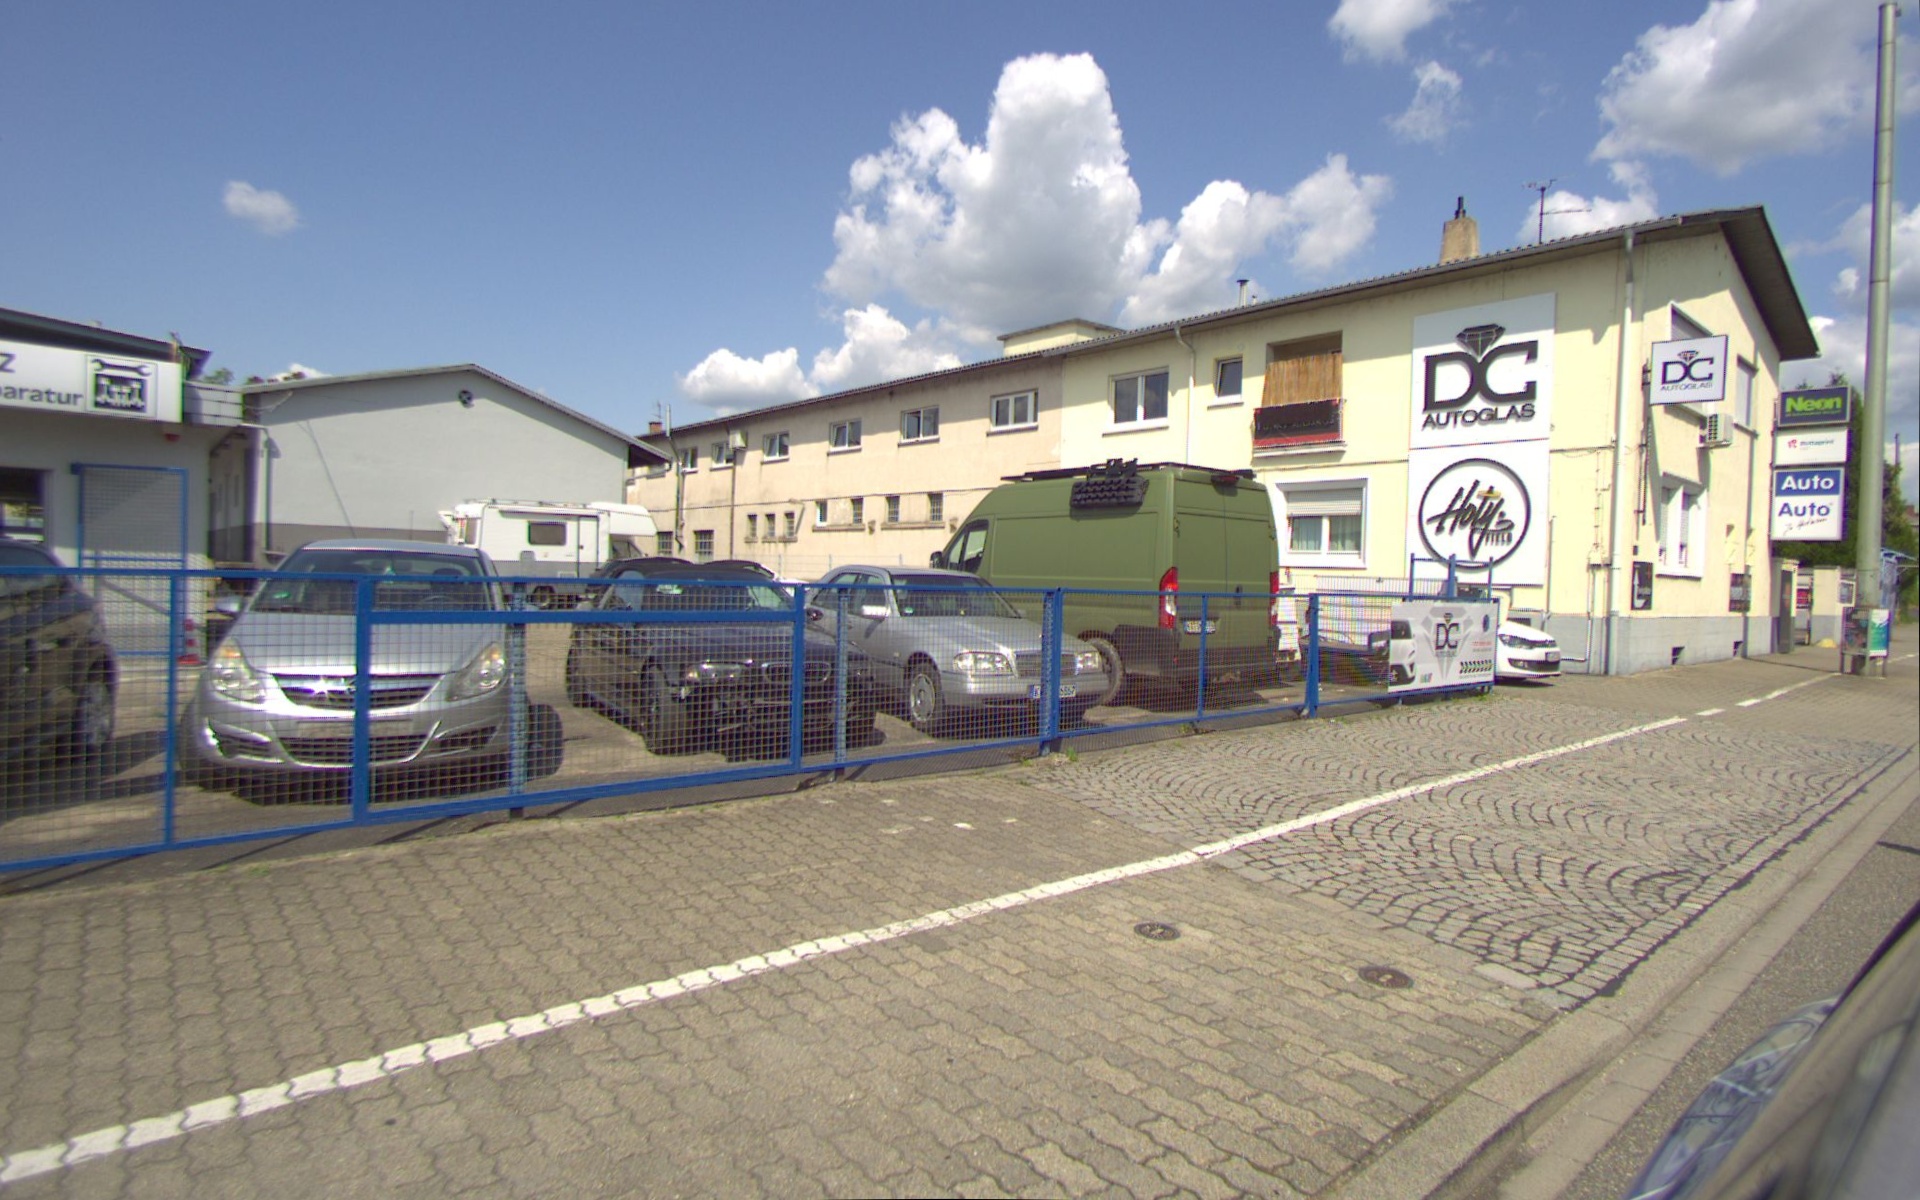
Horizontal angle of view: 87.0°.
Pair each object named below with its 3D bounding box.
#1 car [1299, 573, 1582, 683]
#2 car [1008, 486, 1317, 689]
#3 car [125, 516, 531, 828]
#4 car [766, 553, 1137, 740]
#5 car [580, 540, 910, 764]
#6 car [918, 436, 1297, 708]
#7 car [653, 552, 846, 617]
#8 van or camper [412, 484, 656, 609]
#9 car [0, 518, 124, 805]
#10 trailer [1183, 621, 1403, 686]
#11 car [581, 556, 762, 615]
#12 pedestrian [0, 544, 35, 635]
[{"bbox_3d":[7.542,0.361,16.176,1.527,1.481,3.775,1,2,-39],"label":"car"},{"bbox_3d":[2.682,-0.225,14.268,1.557,2.436,4.208,1,2,-39],"label":"car"},{"bbox_3d":[-3.891,0.281,6.838,1.736,1.470,3.778,1,2,-24],"label":"car"},{"bbox_3d":[-0.331,0.287,10.200,1.679,1.470,4.292,1,2,-33],"label":"car"},{"bbox_3d":[-2.121,0.274,8.894,1.737,1.470,4.128,1,2,-28],"label":"car"},{"bbox_3d":[1.595,-0.349,12.253,2.075,2.675,4.208,1,2,-39],"label":"car"},{"bbox_3d":[-4.836,-0.348,23.545,4.112,1.378,1.645,0,2,-41],"label":"car"},{"bbox_3d":[-11.296,-1.323,27.108,5.556,3.002,2.272,0,2,-42],"label":"van or camper"},{"bbox_3d":[-5.637,0.304,4.863,1.606,1.470,3.700,1,2,-25],"label":"car"},{"bbox_3d":[4.757,0.725,14.648,1.307,0.674,2.730,0,2,-42],"label":"trailer"},{"bbox_3d":[-7.299,-0.358,25.808,4.112,1.378,1.645,0,2,-41],"label":"car"},{"bbox_3d":[-13.154,-0.156,13.879,0.652,1.224,0.566,1,1,-39],"label":"pedestrian"}]
